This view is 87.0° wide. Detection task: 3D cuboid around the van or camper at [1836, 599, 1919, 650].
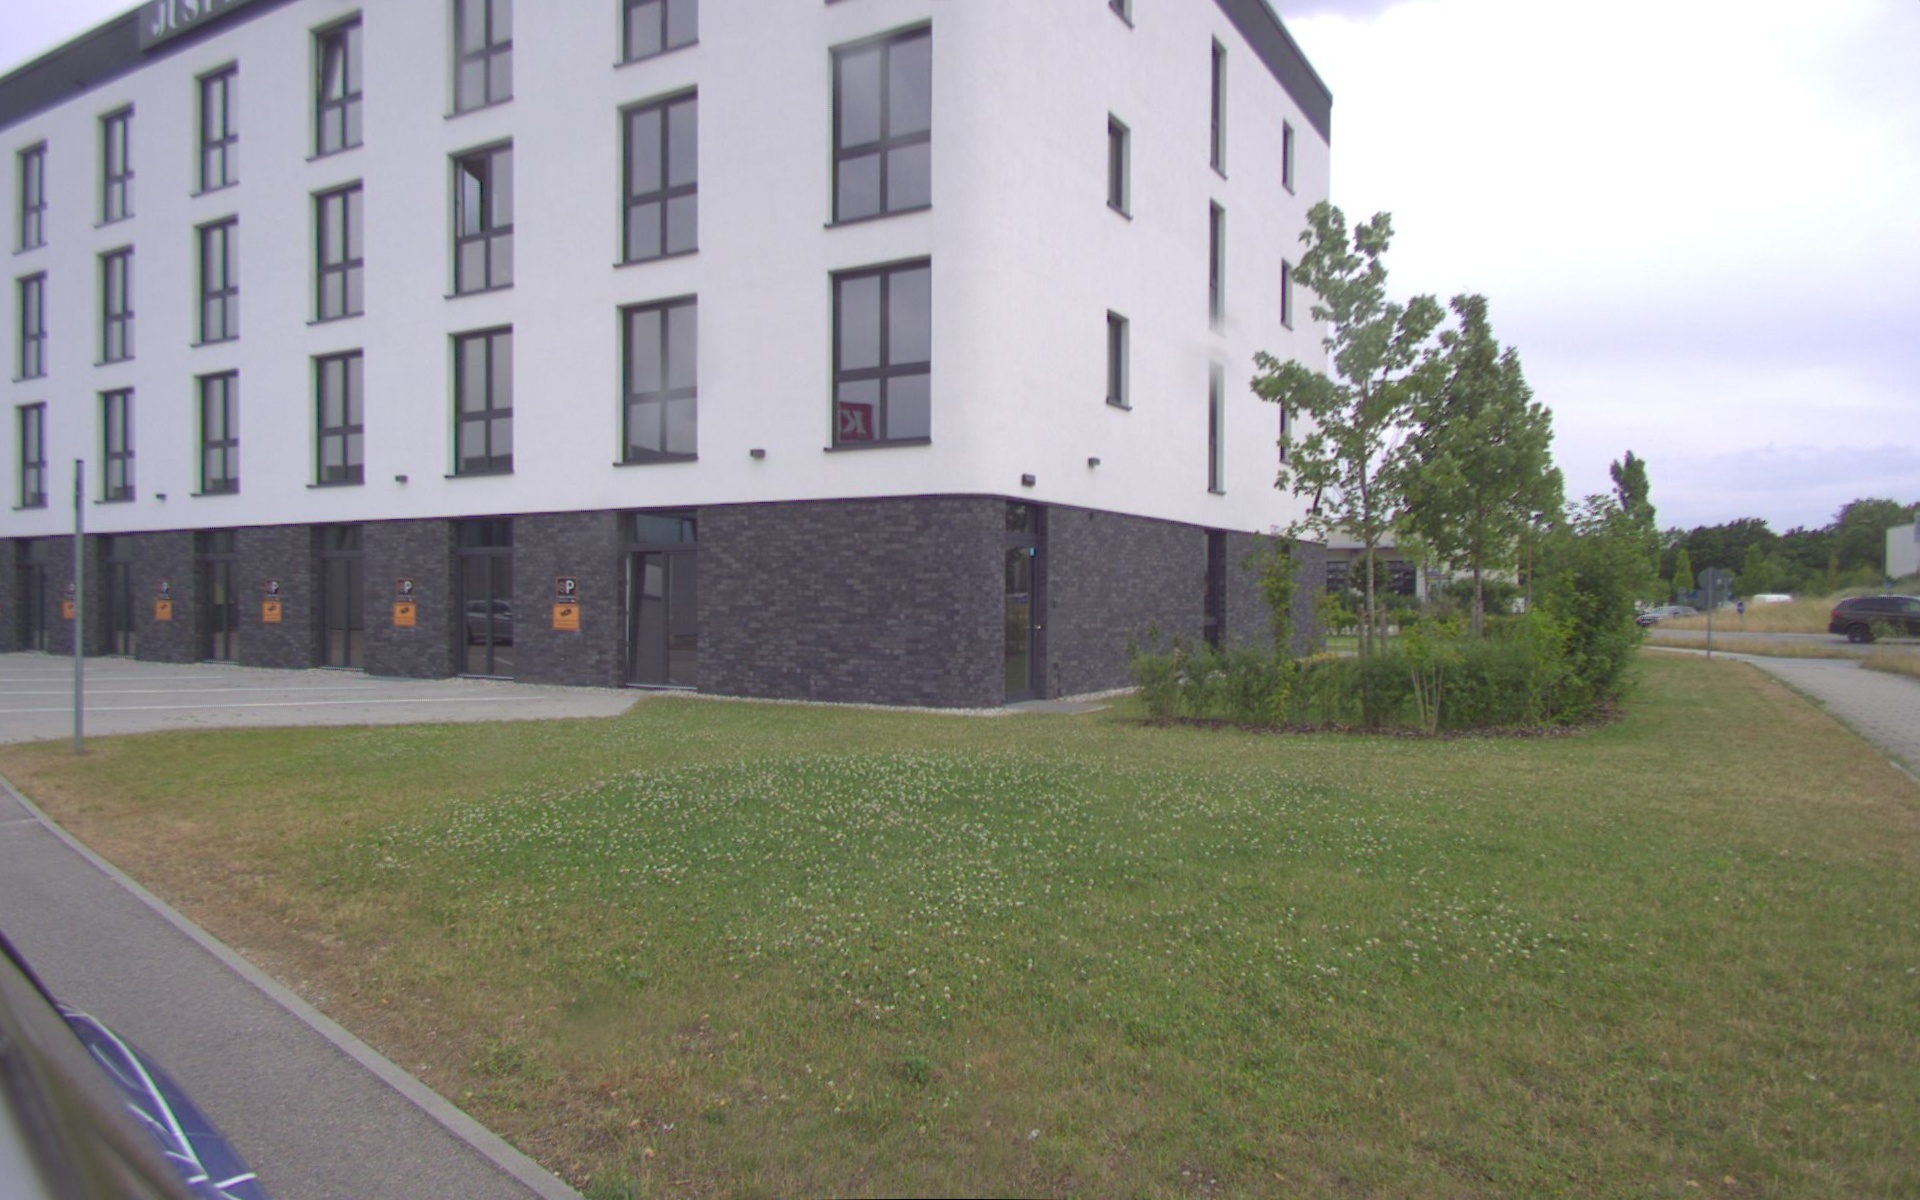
[{"bbox_3d":[35.062,0.891,36.763,1.967,1.762,4.583,0,1,-36],"label":"van or camper"}]
